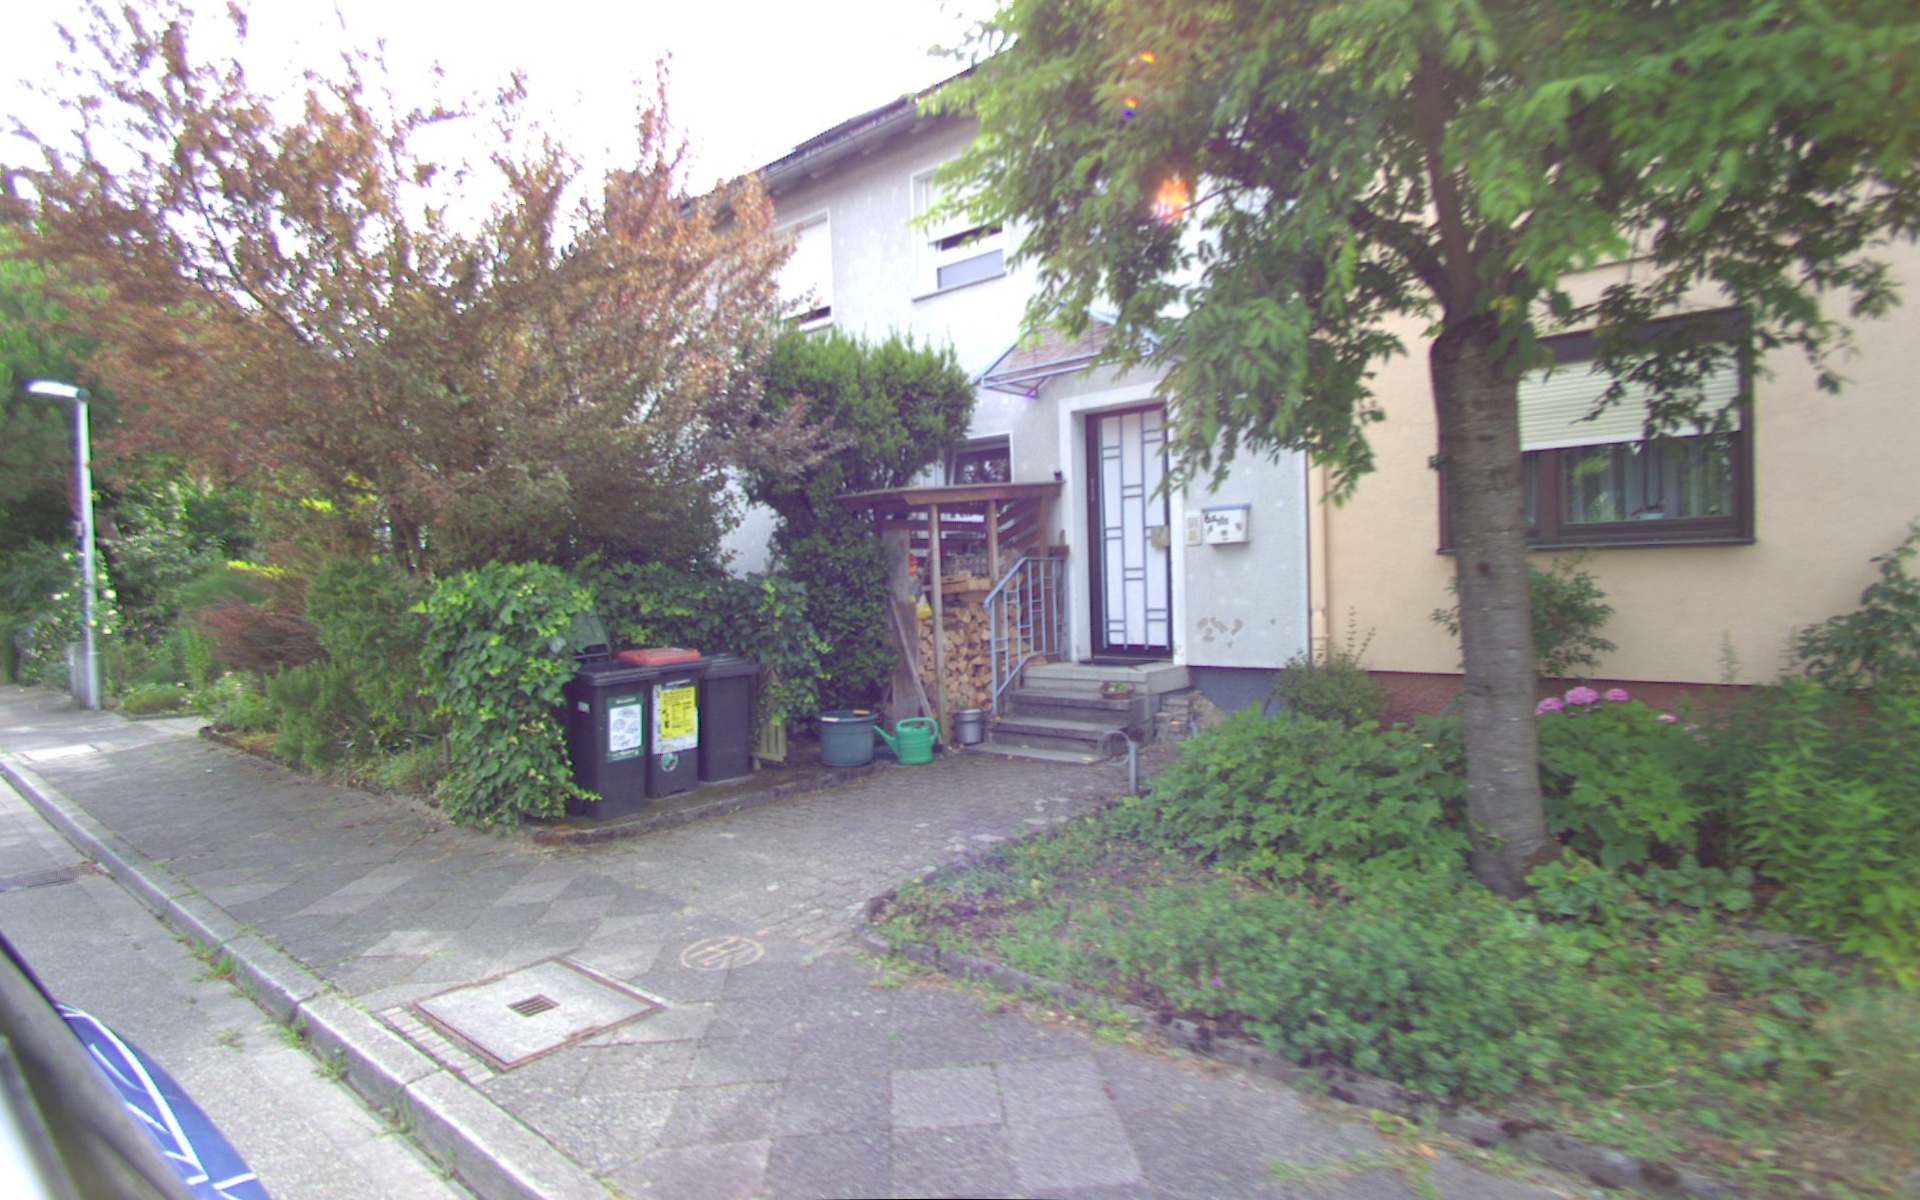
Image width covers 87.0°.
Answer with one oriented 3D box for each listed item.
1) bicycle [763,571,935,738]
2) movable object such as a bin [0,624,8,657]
[{"bbox_3d":[-1.058,0.466,9.283,1.848,1.406,0.427,-1,1,43],"label":"bicycle"},{"bbox_3d":[-32.403,1.352,33.893,0.822,1.079,0.696,-1,0,41],"label":"movable object such as a bin"}]
